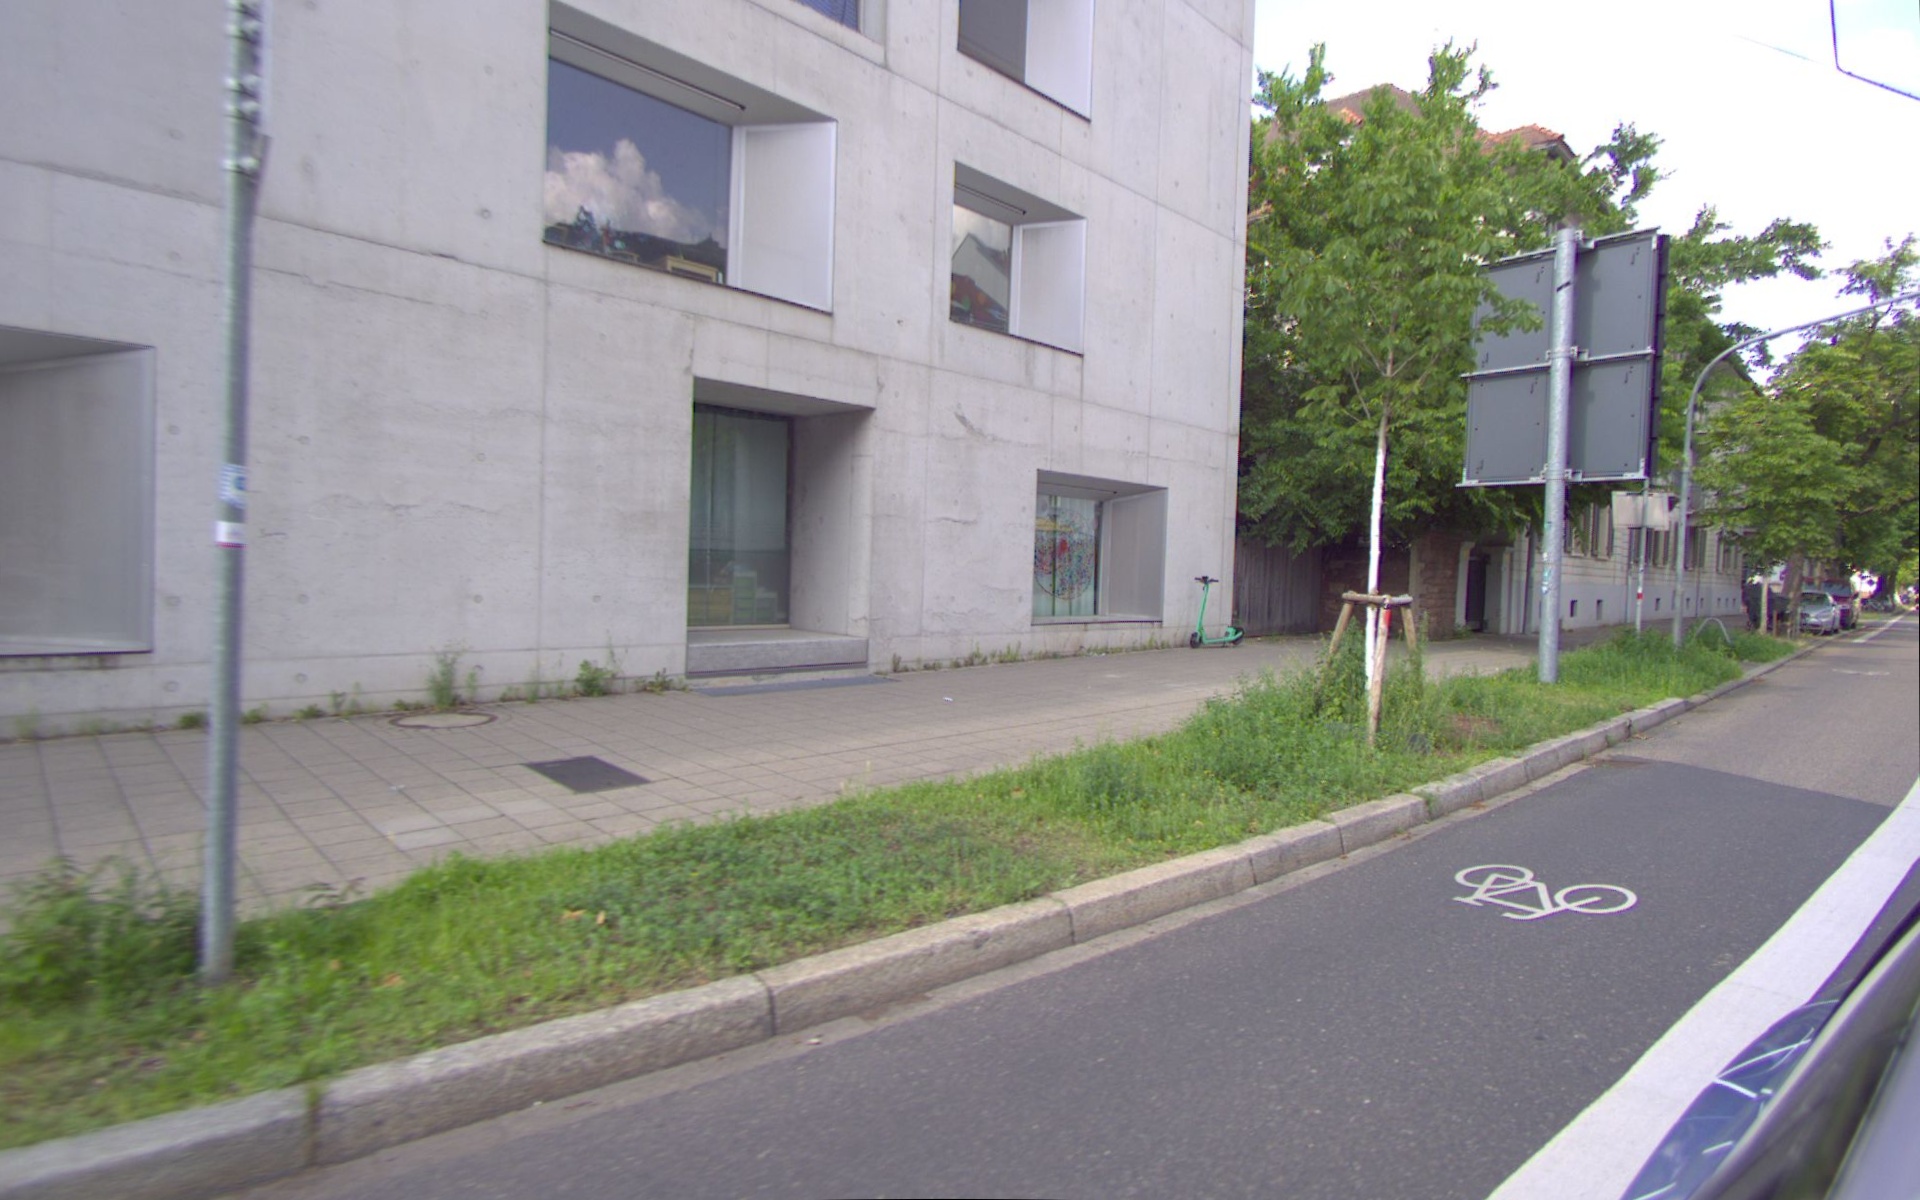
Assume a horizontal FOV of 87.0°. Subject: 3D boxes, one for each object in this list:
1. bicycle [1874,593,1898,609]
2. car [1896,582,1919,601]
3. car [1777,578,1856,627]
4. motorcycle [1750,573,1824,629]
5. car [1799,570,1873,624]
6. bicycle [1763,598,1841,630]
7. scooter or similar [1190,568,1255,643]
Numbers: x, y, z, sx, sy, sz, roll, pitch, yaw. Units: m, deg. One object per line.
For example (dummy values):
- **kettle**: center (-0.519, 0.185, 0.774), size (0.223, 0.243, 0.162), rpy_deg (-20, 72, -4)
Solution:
- **bicycle**: center (68.737, 0.063, 75.134), size (1.268, 1.079, 0.470), rpy_deg (3, 2, 45)
- **car**: center (75.542, -0.687, 80.450), size (1.586, 1.462, 3.836), rpy_deg (3, 3, 44)
- **car**: center (29.294, 0.048, 34.571), size (1.708, 1.517, 4.713), rpy_deg (4, 3, 44)
- **motorcycle**: center (24.098, 0.025, 29.477), size (2.393, 1.560, 0.984), rpy_deg (0, 2, -34)
- **car**: center (35.046, -0.143, 40.445), size (1.896, 1.964, 4.872), rpy_deg (4, 3, 44)
- **bicycle**: center (26.557, 0.427, 31.946), size (0.680, 0.914, 1.779), rpy_deg (0, 3, -42)
- **scooter or similar**: center (4.326, 0.091, 16.652), size (1.125, 1.195, 0.324), rpy_deg (0, 2, -33)
